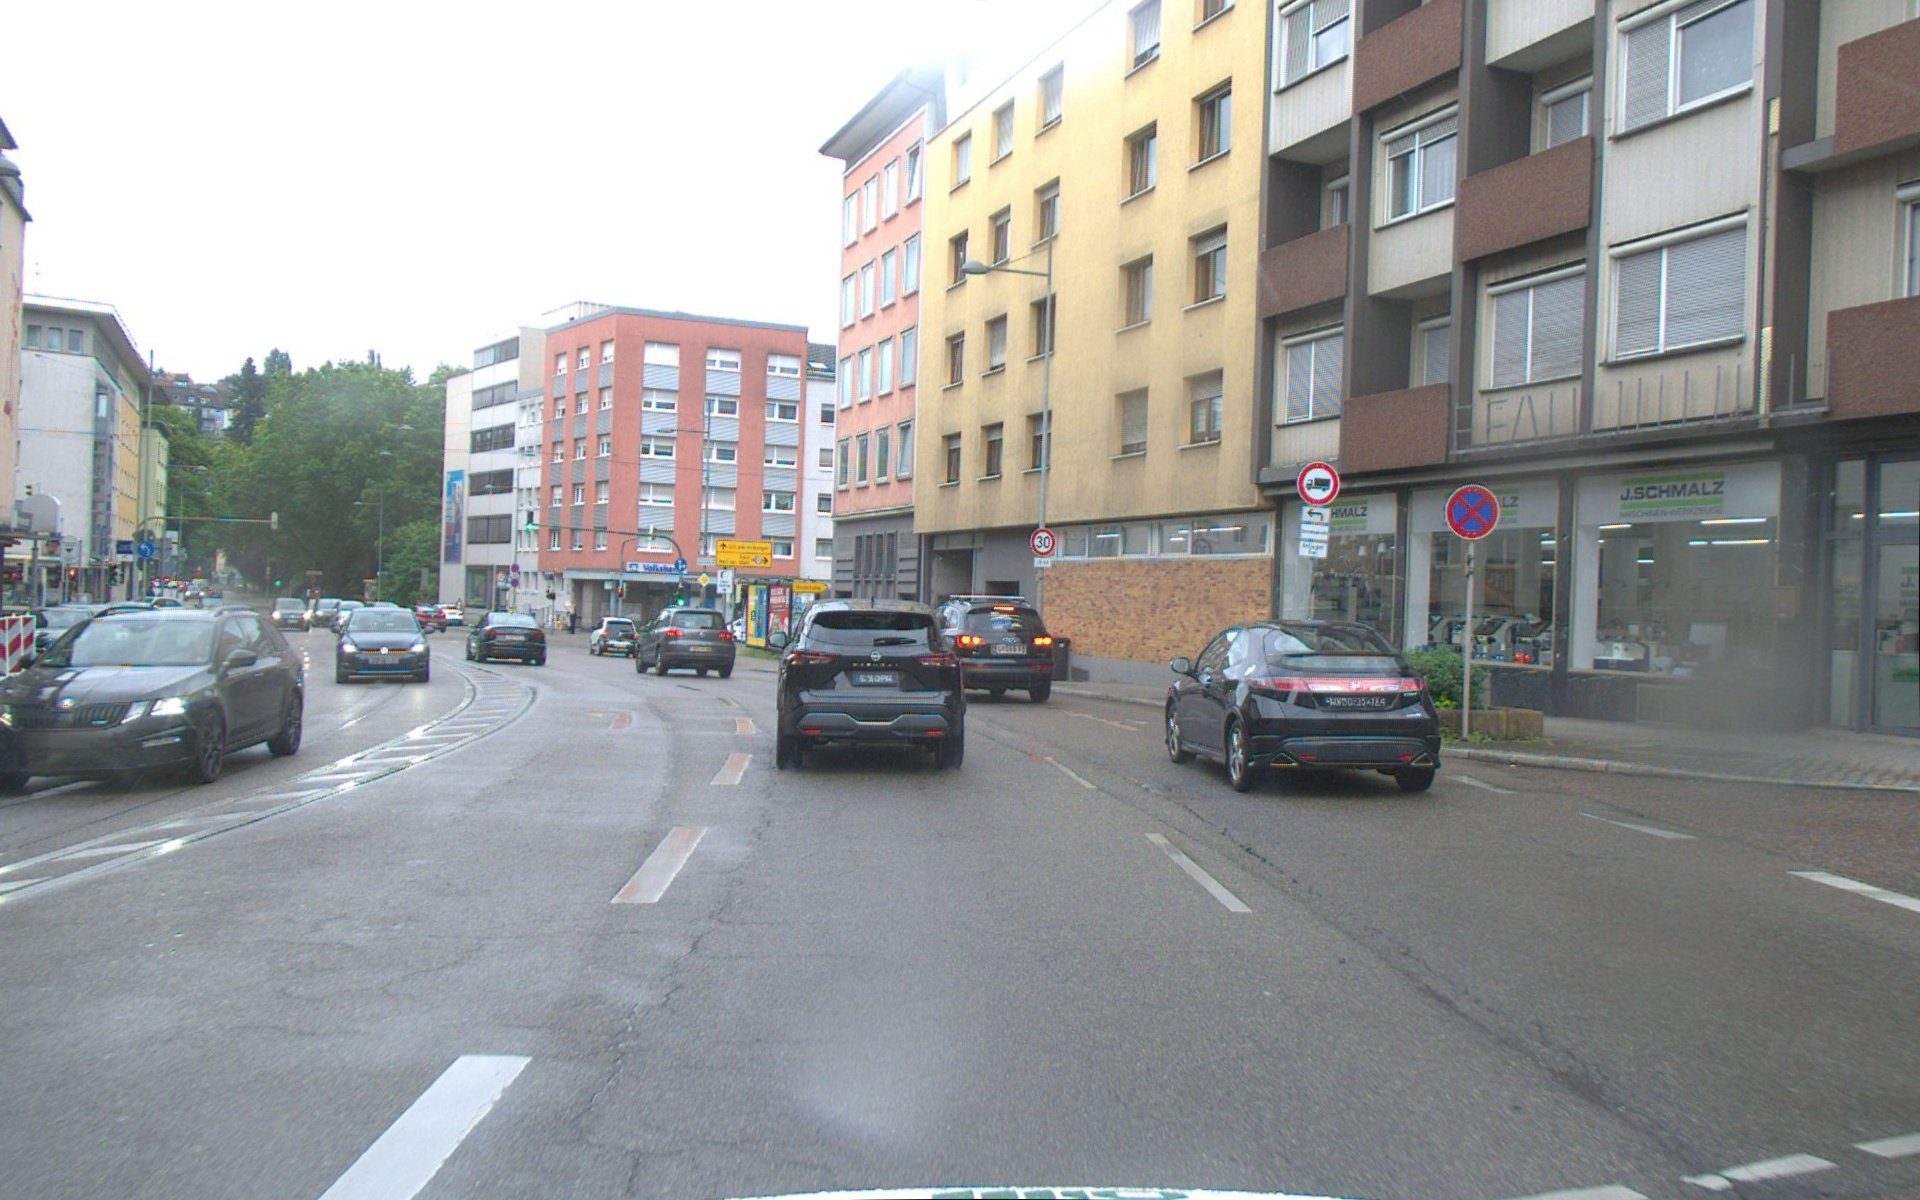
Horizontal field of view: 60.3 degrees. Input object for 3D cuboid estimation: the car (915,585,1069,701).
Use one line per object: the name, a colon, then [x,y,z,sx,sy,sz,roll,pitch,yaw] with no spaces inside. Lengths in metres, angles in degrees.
car: [0.470,0.725,29.943,1.983,1.902,4.889,1,0,-9]

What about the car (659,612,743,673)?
car: [-8.377,1.324,53.250,1.918,1.848,3.975,0,0,-21]

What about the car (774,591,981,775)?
car: [-0.963,0.749,16.973,1.858,1.657,3.994,1,0,-7]

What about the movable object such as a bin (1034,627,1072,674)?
movable object such as a bin: [2.239,1.212,39.729,0.671,1.095,0.664,2,-1,-23]

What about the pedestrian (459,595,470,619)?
pedestrian: [-36.676,0.510,122.496,0.608,1.767,0.672,0,0,-37]

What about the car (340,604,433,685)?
car: [-11.602,0.848,33.543,1.658,1.498,3.978,-1,0,-19]

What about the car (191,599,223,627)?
car: [-44.905,0.786,98.652,1.671,1.655,3.967,1,-1,-25]

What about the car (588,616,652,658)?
car: [-13.923,1.483,67.600,1.964,1.512,3.978,4,-1,-19]

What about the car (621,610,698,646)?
car: [-14.315,1.351,78.912,1.952,1.545,4.002,3,-1,17]

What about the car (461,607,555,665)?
car: [-13.005,1.007,47.413,1.967,1.412,4.467,4,-1,-23]

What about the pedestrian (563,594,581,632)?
pedestrian: [-23.324,0.794,99.354,0.814,2.196,0.764,4,-1,-24]

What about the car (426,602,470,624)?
car: [-35.249,0.879,113.821,1.757,1.426,4.529,0,1,-32]

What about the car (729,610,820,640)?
car: [-10.110,1.370,90.118,4.593,1.512,1.904,1,0,-26]

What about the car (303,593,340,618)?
car: [-40.255,0.366,104.180,1.799,1.459,4.361,1,-1,-26]

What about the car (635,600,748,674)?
car: [-6.671,0.876,40.835,1.919,1.714,3.972,0,0,-22]

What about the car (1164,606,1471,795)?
car: [3.168,0.833,15.477,1.748,1.523,4.053,1,0,-4]

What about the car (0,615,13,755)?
car: [-10.413,0.870,15.250,1.690,1.424,3.588,-1,0,-8]

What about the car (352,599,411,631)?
car: [-29.988,0.765,85.691,1.840,1.580,4.175,2,-1,-35]

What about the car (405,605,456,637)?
car: [-29.642,1.174,92.486,1.971,1.556,3.963,4,-1,-28]

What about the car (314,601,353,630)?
car: [-36.321,0.885,95.819,1.798,1.636,4.395,1,-1,-25]

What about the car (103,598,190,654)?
car: [-24.380,0.766,49.688,1.880,1.581,4.602,1,-1,-21]

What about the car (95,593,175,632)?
car: [-39.672,0.607,79.618,1.647,1.735,4.001,3,-1,2]

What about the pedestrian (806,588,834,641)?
pedestrian: [-4.918,0.490,58.077,0.662,1.819,1.089,2,-1,-19]

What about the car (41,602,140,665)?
car: [-22.047,0.812,42.059,1.968,1.503,4.482,1,0,-25]

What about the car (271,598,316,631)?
car: [-34.058,0.728,84.420,1.840,1.676,4.217,0,0,-26]

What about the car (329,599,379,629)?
car: [-33.114,0.755,90.371,1.913,1.553,4.094,1,-1,-30]

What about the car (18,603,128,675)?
car: [-19.740,0.813,36.976,1.858,1.503,4.940,0,0,-25]

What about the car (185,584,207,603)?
car: [-83.163,-0.677,180.008,1.968,1.892,3.970,4,-1,-24]

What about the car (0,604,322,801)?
car: [-7.328,0.794,14.925,1.946,1.485,4.477,-1,0,-8]
